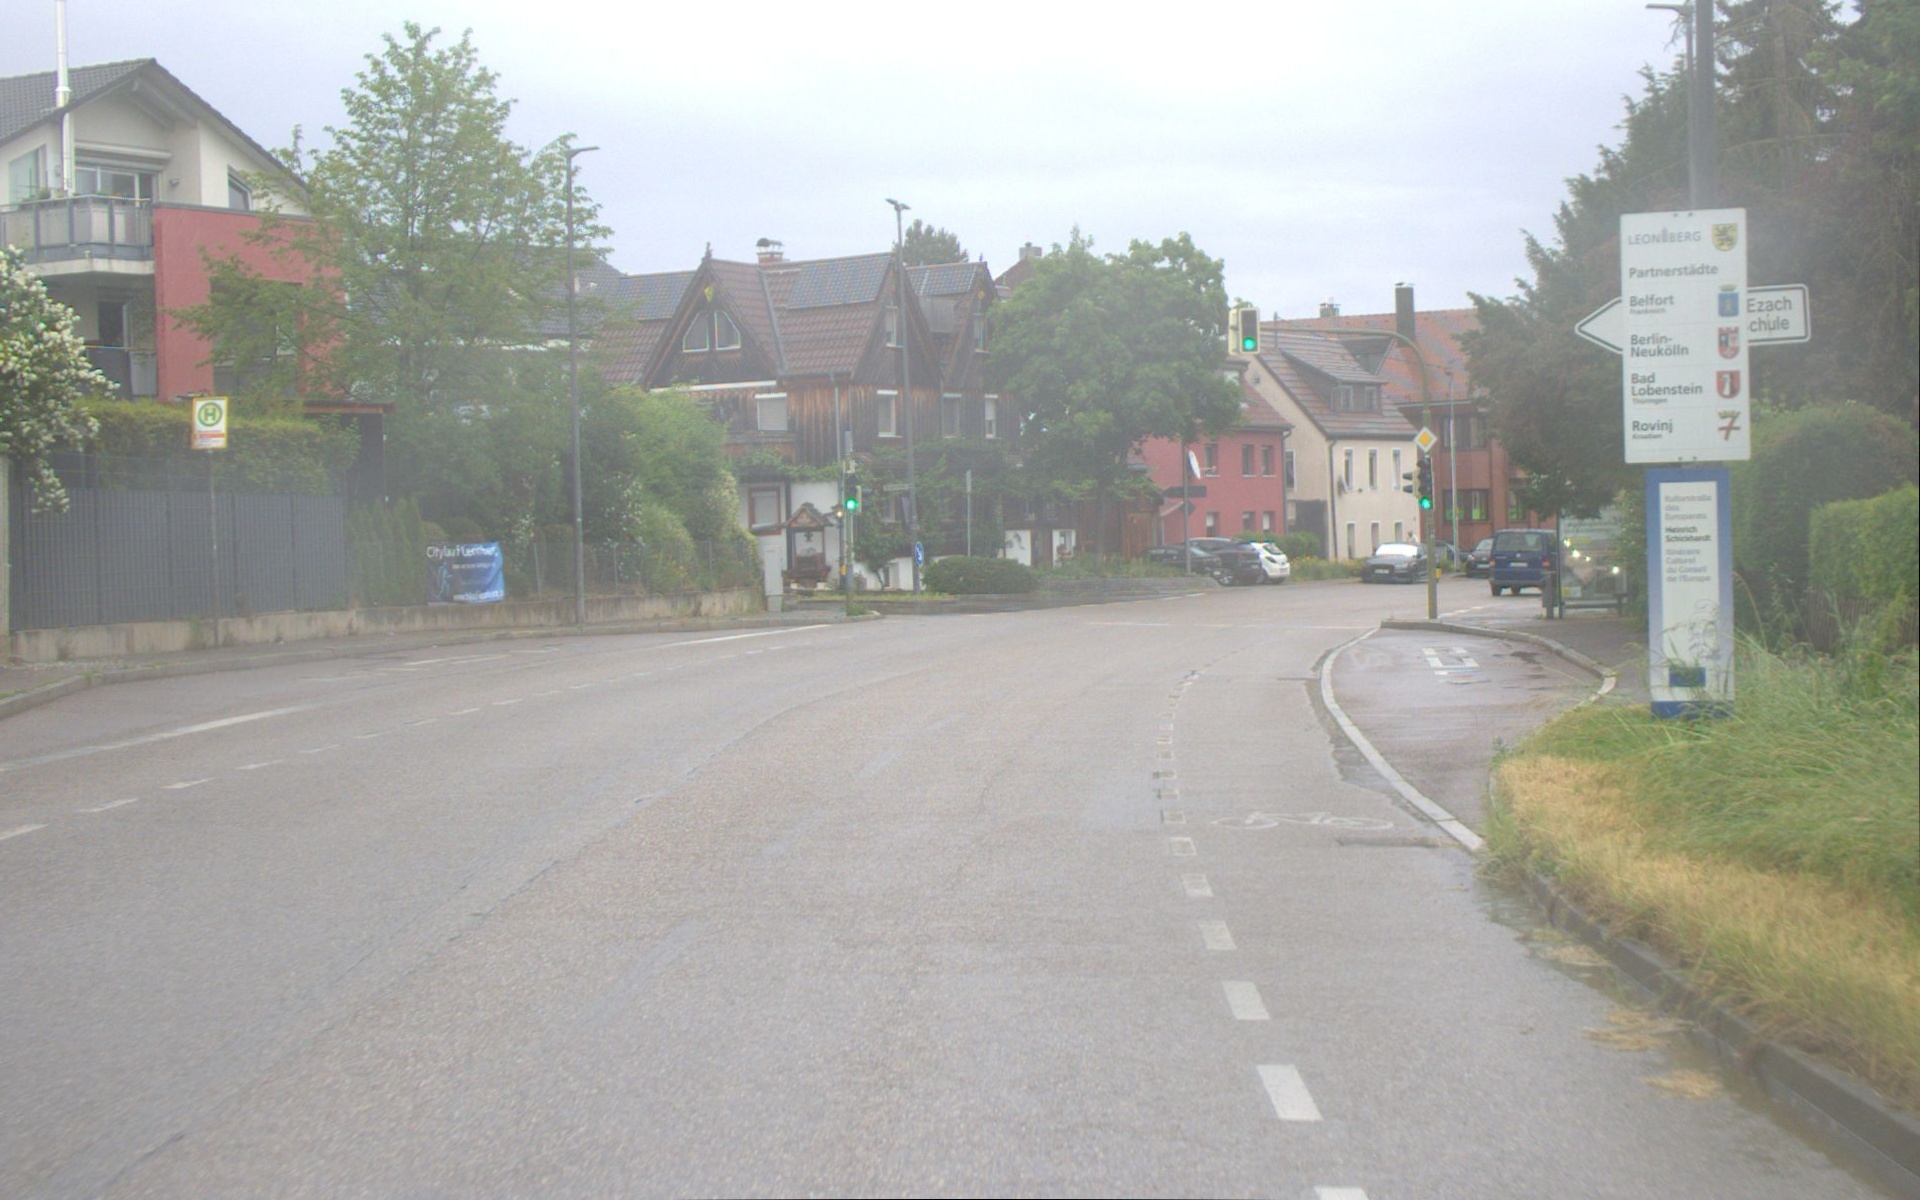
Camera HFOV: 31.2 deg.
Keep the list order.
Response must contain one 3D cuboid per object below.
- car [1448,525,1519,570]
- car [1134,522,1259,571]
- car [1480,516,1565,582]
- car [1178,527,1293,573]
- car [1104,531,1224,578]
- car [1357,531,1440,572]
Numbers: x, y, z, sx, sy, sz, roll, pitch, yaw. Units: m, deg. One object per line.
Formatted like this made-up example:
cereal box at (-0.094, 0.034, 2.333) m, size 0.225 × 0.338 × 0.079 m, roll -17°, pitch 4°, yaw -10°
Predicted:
car at (19.429, -1.961, 127.521) m, size 1.607 × 1.612 × 3.271 m, roll -1°, pitch 1°, yaw 27°
car at (7.706, -1.747, 112.095) m, size 3.582 × 1.501 × 1.852 m, roll 2°, pitch 2°, yaw 31°
car at (16.739, -1.544, 102.134) m, size 1.932 × 1.896 × 4.790 m, roll 1°, pitch 1°, yaw 16°
car at (9.264, -1.673, 115.651) m, size 3.466 × 1.474 × 1.588 m, roll -1°, pitch 1°, yaw 29°
car at (6.524, -1.468, 109.961) m, size 3.451 × 1.413 × 1.630 m, roll -1°, pitch 1°, yaw 29°
car at (15.088, -1.687, 118.194) m, size 1.629 × 1.351 × 4.105 m, roll 1°, pitch 2°, yaw 26°
